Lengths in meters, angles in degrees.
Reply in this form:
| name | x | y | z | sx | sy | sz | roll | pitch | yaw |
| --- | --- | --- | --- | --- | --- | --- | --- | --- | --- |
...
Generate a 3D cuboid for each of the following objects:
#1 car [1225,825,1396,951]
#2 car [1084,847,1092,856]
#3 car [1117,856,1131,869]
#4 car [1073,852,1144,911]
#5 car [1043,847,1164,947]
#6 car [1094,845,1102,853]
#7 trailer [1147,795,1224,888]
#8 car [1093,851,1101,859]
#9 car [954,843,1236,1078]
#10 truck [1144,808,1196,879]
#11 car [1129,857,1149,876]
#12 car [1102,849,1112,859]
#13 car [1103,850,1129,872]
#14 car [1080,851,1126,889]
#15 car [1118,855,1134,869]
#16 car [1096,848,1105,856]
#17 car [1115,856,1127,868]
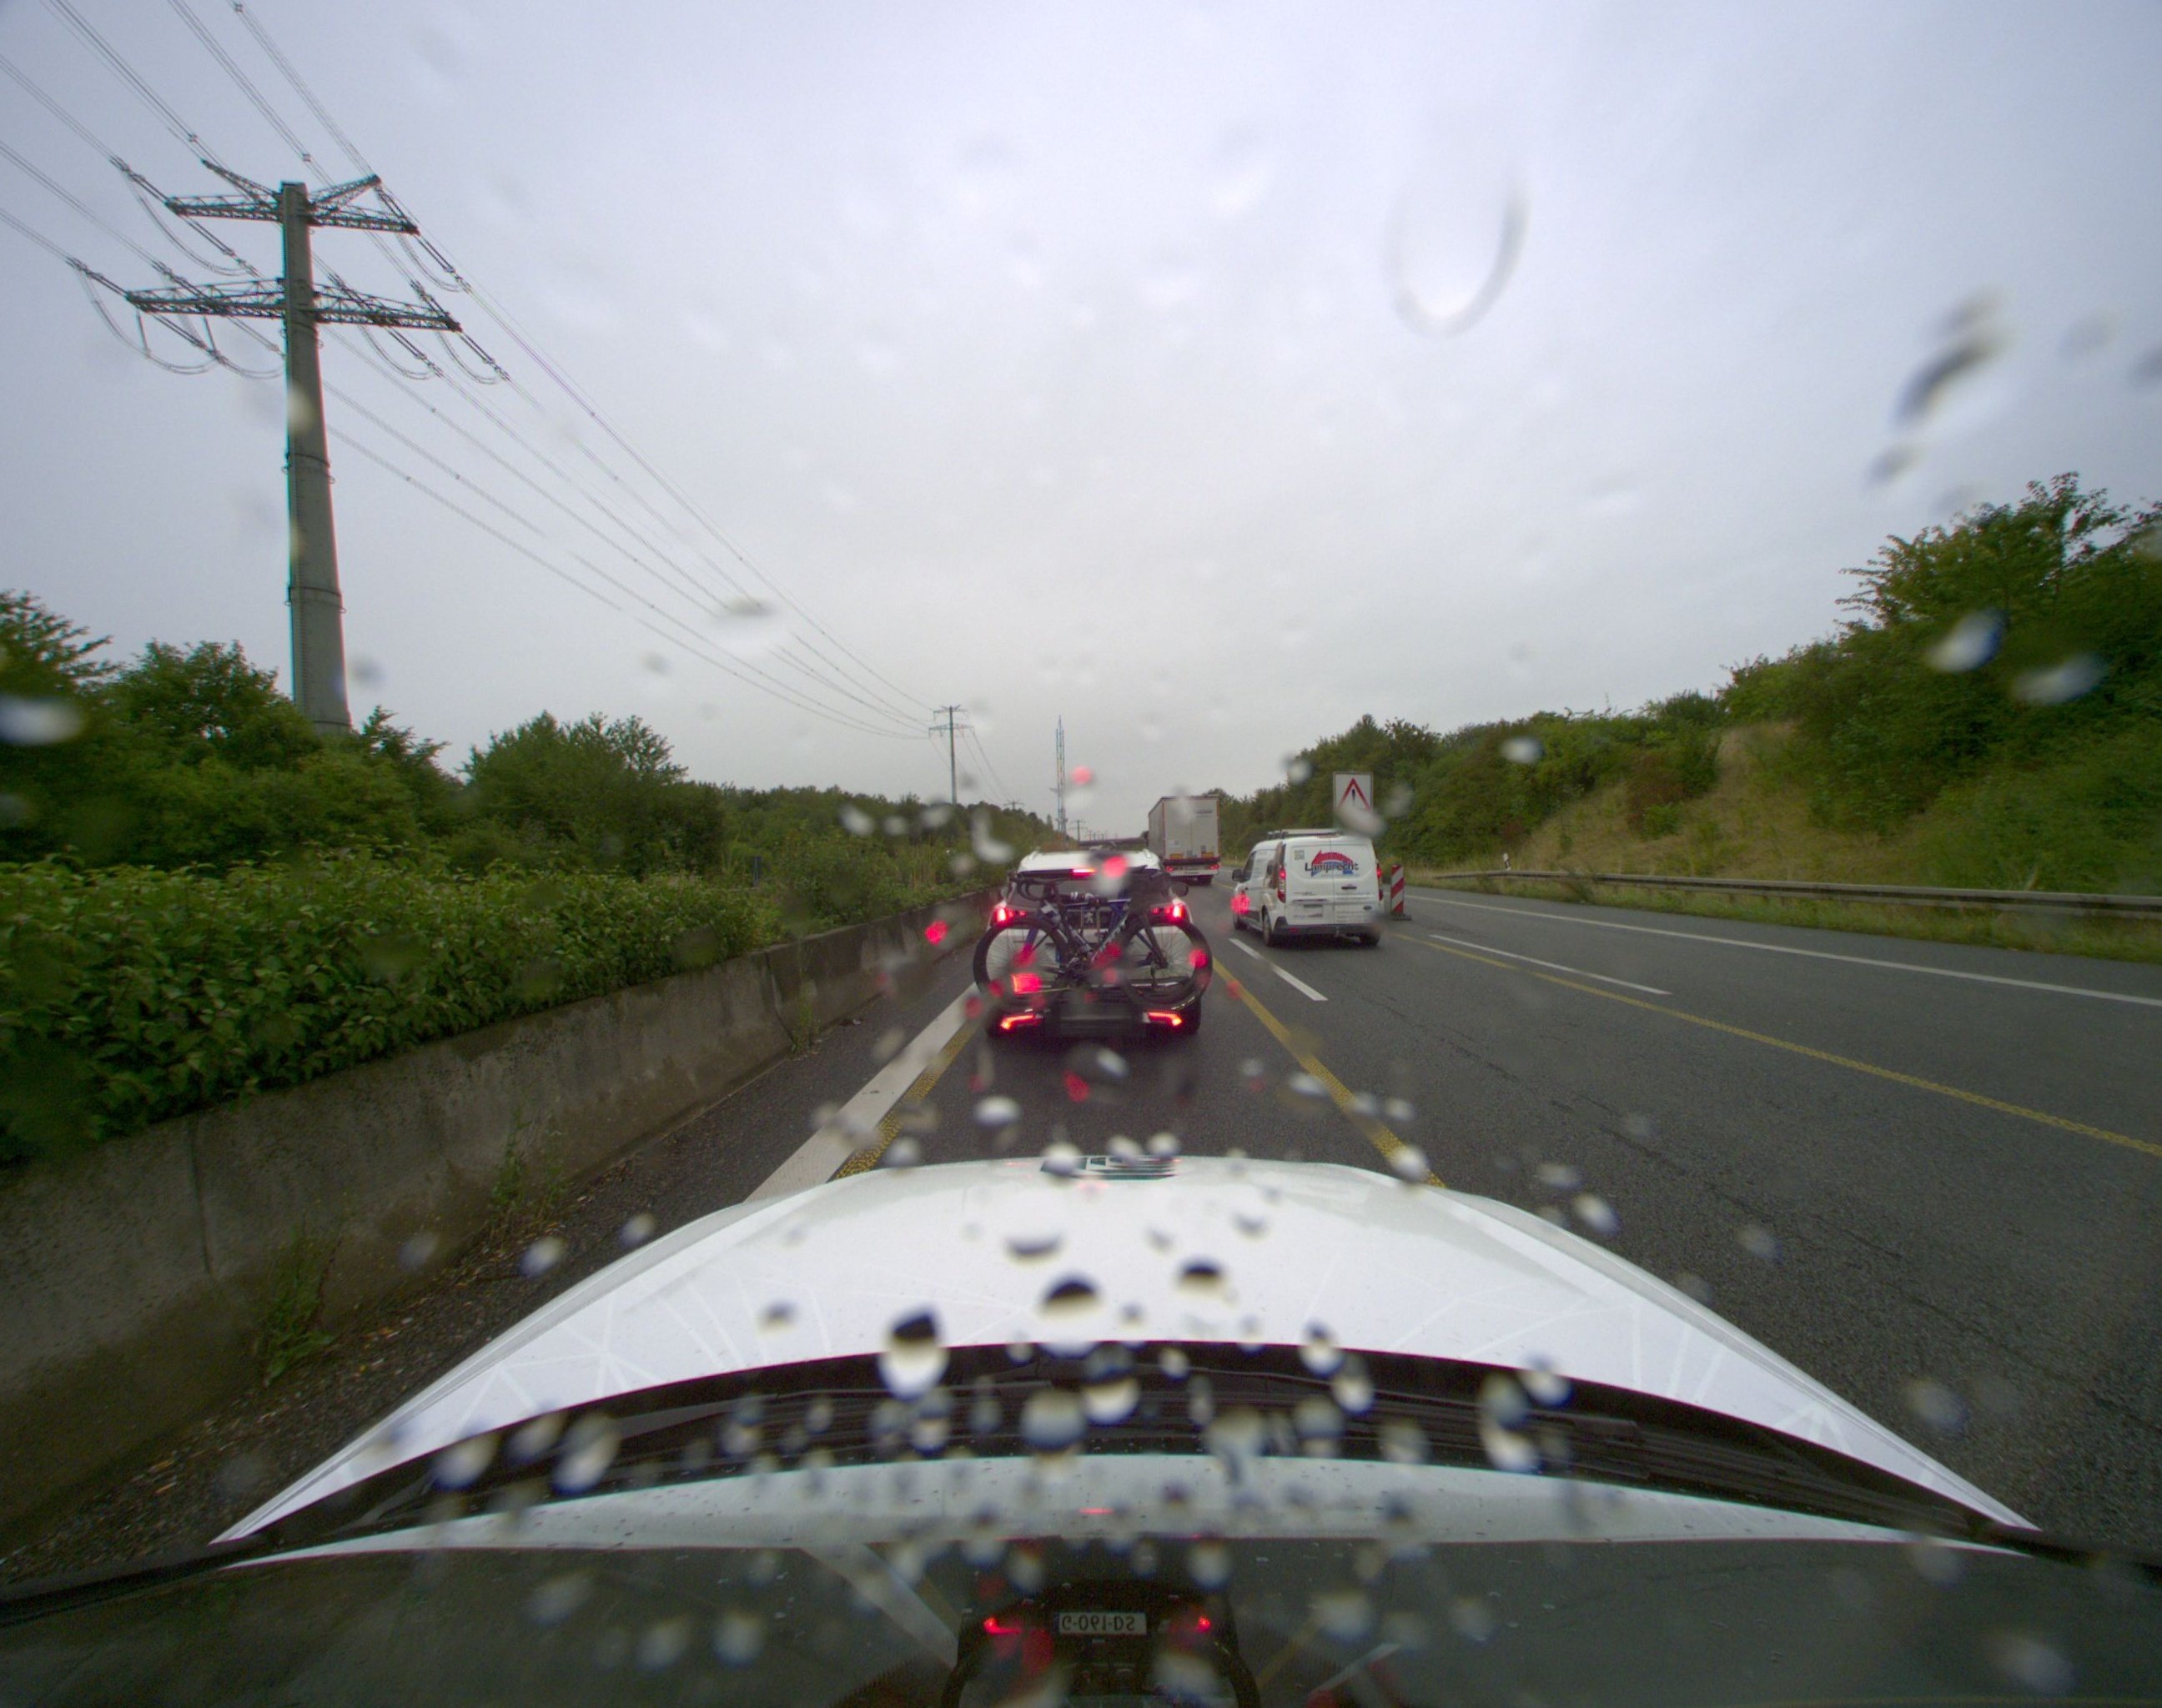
| name | x | y | z | sx | sy | sz | roll | pitch | yaw |
| --- | --- | --- | --- | --- | --- | --- | --- | --- | --- |
| car | 3.827 | 0.504 | 14.439 | 1.822 | 1.839 | 4.657 | -1 | 0 | 2 |
| car | 2.119 | -0.808 | 238.066 | 2.249 | 2.424 | 4.002 | -1 | 1 | 2 |
| car | 7.153 | 1.384 | 135.733 | 2.140 | 1.973 | 4.002 | -1 | 1 | 2 |
| car | 0.786 | 0.729 | 23.428 | 1.843 | 1.531 | 4.002 | -1 | 0 | 2 |
| car | 0.410 | 0.668 | 14.652 | 1.843 | 1.531 | 4.002 | -1 | 0 | 2 |
| car | 4.151 | -1.333 | 204.126 | 1.924 | 1.973 | 4.002 | -1 | 1 | 2 |
| trailer | 5.217 | -0.550 | 43.064 | 2.682 | 4.076 | 13.639 | -1 | 0 | 2 |
| car | 3.934 | 0.190 | 198.407 | 1.924 | 1.973 | 4.002 | -1 | 1 | 2 |
| car | 0.166 | 0.709 | 7.793 | 1.843 | 1.531 | 4.770 | -1 | 0 | 2 |
| truck | 5.403 | -0.610 | 50.515 | 2.650 | 4.076 | 6.541 | -1 | 0 | 2 |
| car | 6.482 | 1.352 | 91.611 | 2.102 | 1.973 | 4.002 | -1 | 1 | 2 |
| car | 5.444 | -0.043 | 171.439 | 1.924 | 1.973 | 4.002 | -1 | 1 | 2 |
| car | 2.626 | 0.516 | 61.293 | 1.843 | 1.531 | 4.002 | -1 | 0 | 2 |
| car | 0.942 | 0.649 | 35.184 | 1.843 | 1.531 | 4.002 | -1 | 0 | 2 |
| car | 6.668 | 1.202 | 120.963 | 2.140 | 1.973 | 4.002 | -1 | 1 | 2 |
| car | 4.595 | -0.481 | 191.446 | 1.924 | 1.910 | 4.002 | -1 | 1 | 2 |
| car | 7.272 | 1.497 | 149.583 | 2.140 | 1.973 | 4.002 | -1 | 1 | 2 |
